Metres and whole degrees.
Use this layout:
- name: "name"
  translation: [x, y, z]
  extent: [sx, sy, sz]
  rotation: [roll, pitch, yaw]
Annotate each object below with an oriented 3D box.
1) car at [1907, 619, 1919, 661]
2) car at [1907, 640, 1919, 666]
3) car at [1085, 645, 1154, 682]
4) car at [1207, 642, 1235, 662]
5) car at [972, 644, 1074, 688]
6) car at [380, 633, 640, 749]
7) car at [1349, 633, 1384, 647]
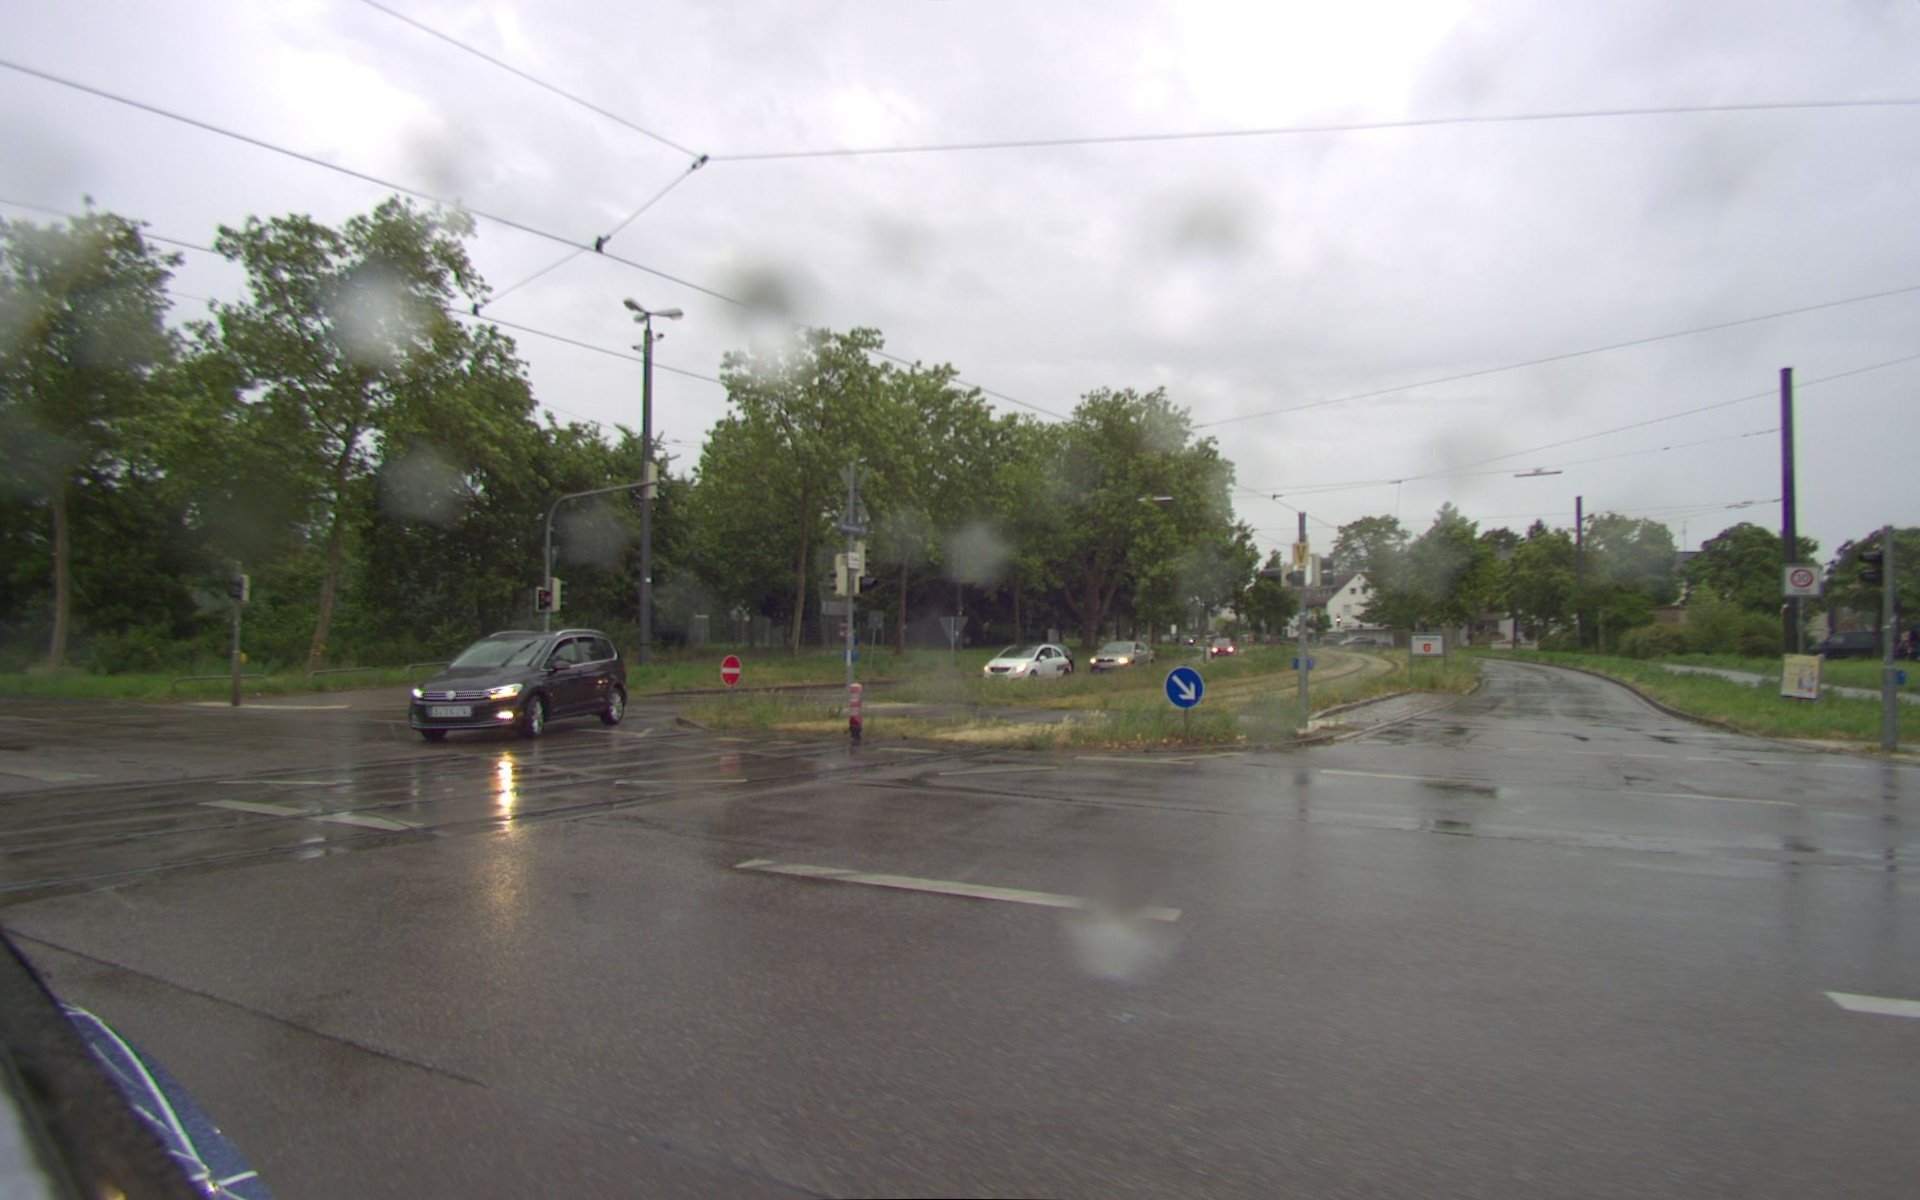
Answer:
- name: "car"
  translation: [49.175, 1.950, 49.968]
  extent: [5.031, 2.029, 2.319]
  rotation: [1, -3, -34]
- name: "car"
  translation: [57.978, 3.046, 58.635]
  extent: [1.753, 1.494, 4.195]
  rotation: [1, -3, -30]
- name: "car"
  translation: [6.586, 2.581, 41.425]
  extent: [1.779, 1.414, 3.761]
  rotation: [-3, -3, 25]
- name: "car"
  translation: [18.888, 3.749, 73.353]
  extent: [1.771, 1.391, 3.849]
  rotation: [-2, -3, 12]
- name: "car"
  translation: [2.168, 2.174, 33.756]
  extent: [1.783, 1.374, 3.955]
  rotation: [-3, -3, 31]
- name: "car"
  translation: [-7.069, 1.394, 16.524]
  extent: [1.845, 1.614, 4.515]
  rotation: [-2, -3, 7]
- name: "car"
  translation: [56.324, 5.517, 140.188]
  extent: [3.942, 1.815, 1.893]
  rotation: [-1, -4, -2]
